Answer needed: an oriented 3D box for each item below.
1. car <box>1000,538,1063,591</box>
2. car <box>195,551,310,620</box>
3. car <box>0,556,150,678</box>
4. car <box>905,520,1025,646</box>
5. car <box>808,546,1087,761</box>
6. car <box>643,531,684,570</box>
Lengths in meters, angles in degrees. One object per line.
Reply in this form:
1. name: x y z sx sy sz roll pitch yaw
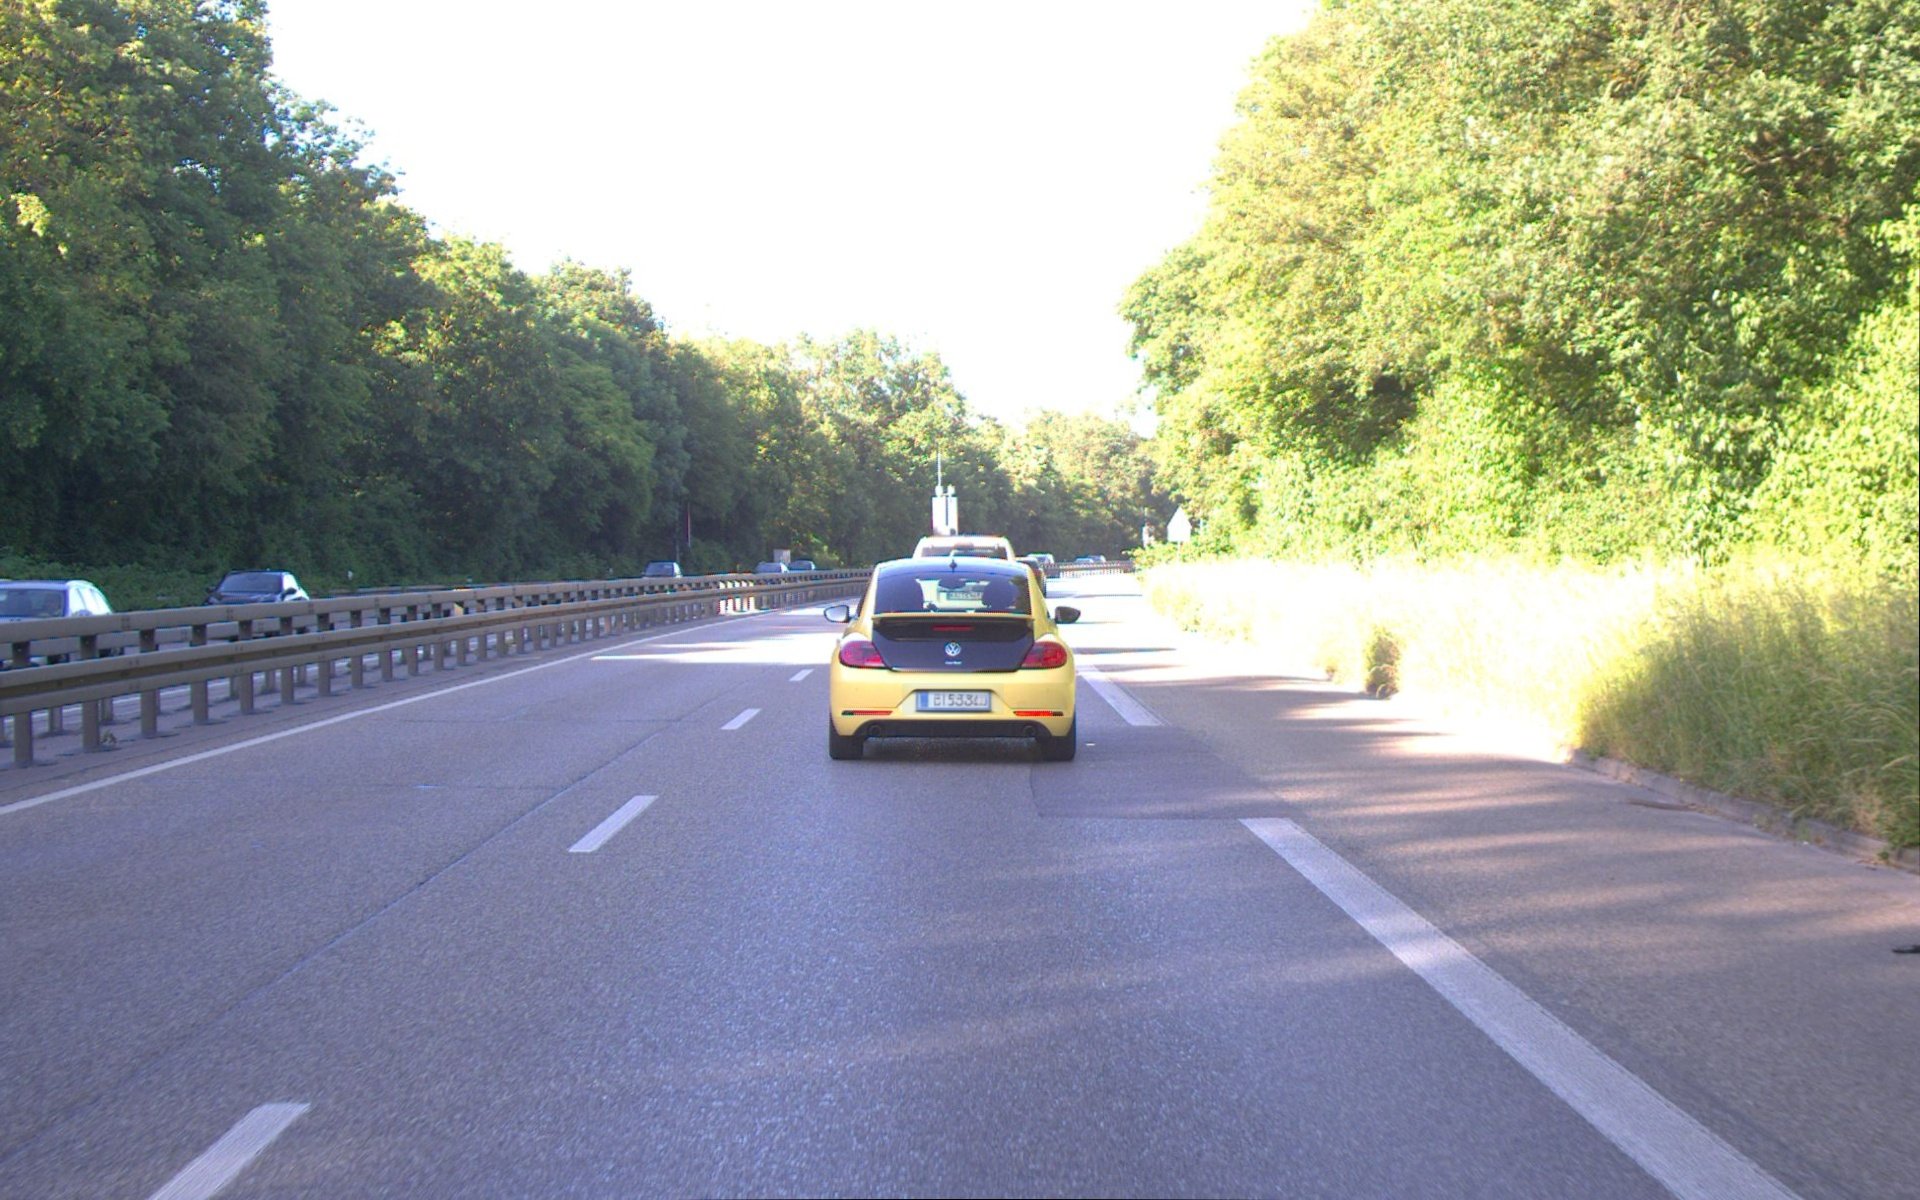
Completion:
1. car: 2.664 -1.339 129.656 2.263 1.869 5.076 -2 1 1
2. car: -14.987 -0.331 72.959 1.606 1.418 4.000 0 1 0
3. car: -12.018 0.196 44.237 1.993 1.459 4.740 -2 1 0
4. car: 0.099 -0.274 52.284 1.741 1.823 3.422 1 1 1
5. car: -0.024 0.348 25.767 1.939 1.503 3.422 0 1 2
6. car: -12.430 -2.083 144.109 1.414 1.614 2.875 -1 1 1
